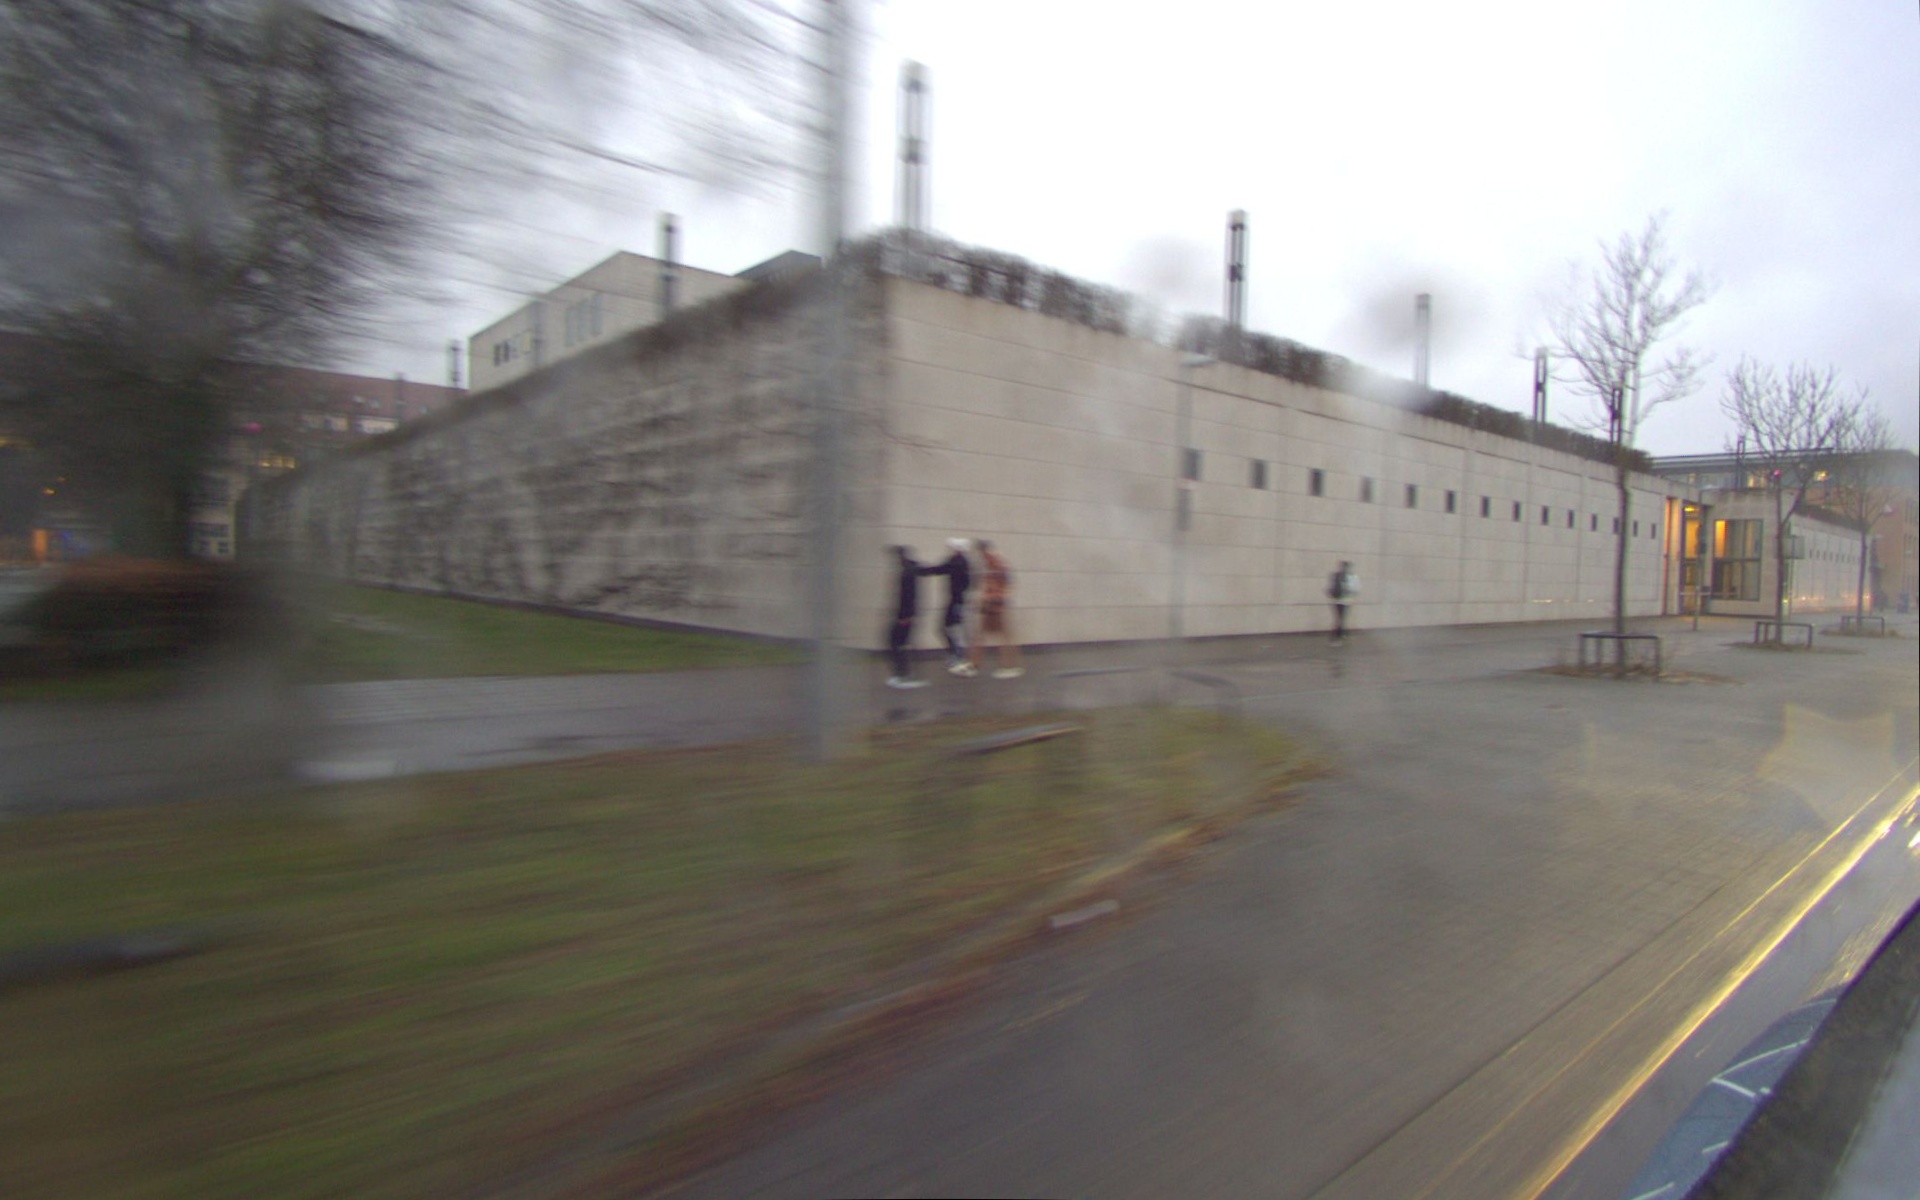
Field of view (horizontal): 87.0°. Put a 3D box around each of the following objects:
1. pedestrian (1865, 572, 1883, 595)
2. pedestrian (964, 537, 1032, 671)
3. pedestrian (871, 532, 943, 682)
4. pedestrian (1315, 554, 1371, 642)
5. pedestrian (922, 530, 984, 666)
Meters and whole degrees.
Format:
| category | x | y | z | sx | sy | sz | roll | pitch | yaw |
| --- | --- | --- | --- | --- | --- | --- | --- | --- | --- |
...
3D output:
| category | x | y | z | sx | sy | sz | roll | pitch | yaw |
| --- | --- | --- | --- | --- | --- | --- | --- | --- | --- |
| pedestrian | 67.405 | -1.236 | 74.629 | 0.868 | 1.650 | 0.813 | -1 | 4 | -41 |
| pedestrian | 0.476 | 0.038 | 12.774 | 0.602 | 1.632 | 0.676 | 0 | 0 | -27 |
| pedestrian | -0.607 | 0.072 | 11.531 | 0.601 | 1.645 | 0.676 | 0 | 0 | -25 |
| pedestrian | 7.558 | -0.061 | 19.950 | 0.667 | 1.675 | 0.979 | 3 | 3 | 44 |
| pedestrian | -0.101 | -0.036 | 13.808 | 0.602 | 1.800 | 0.676 | 0 | 0 | -27 |
